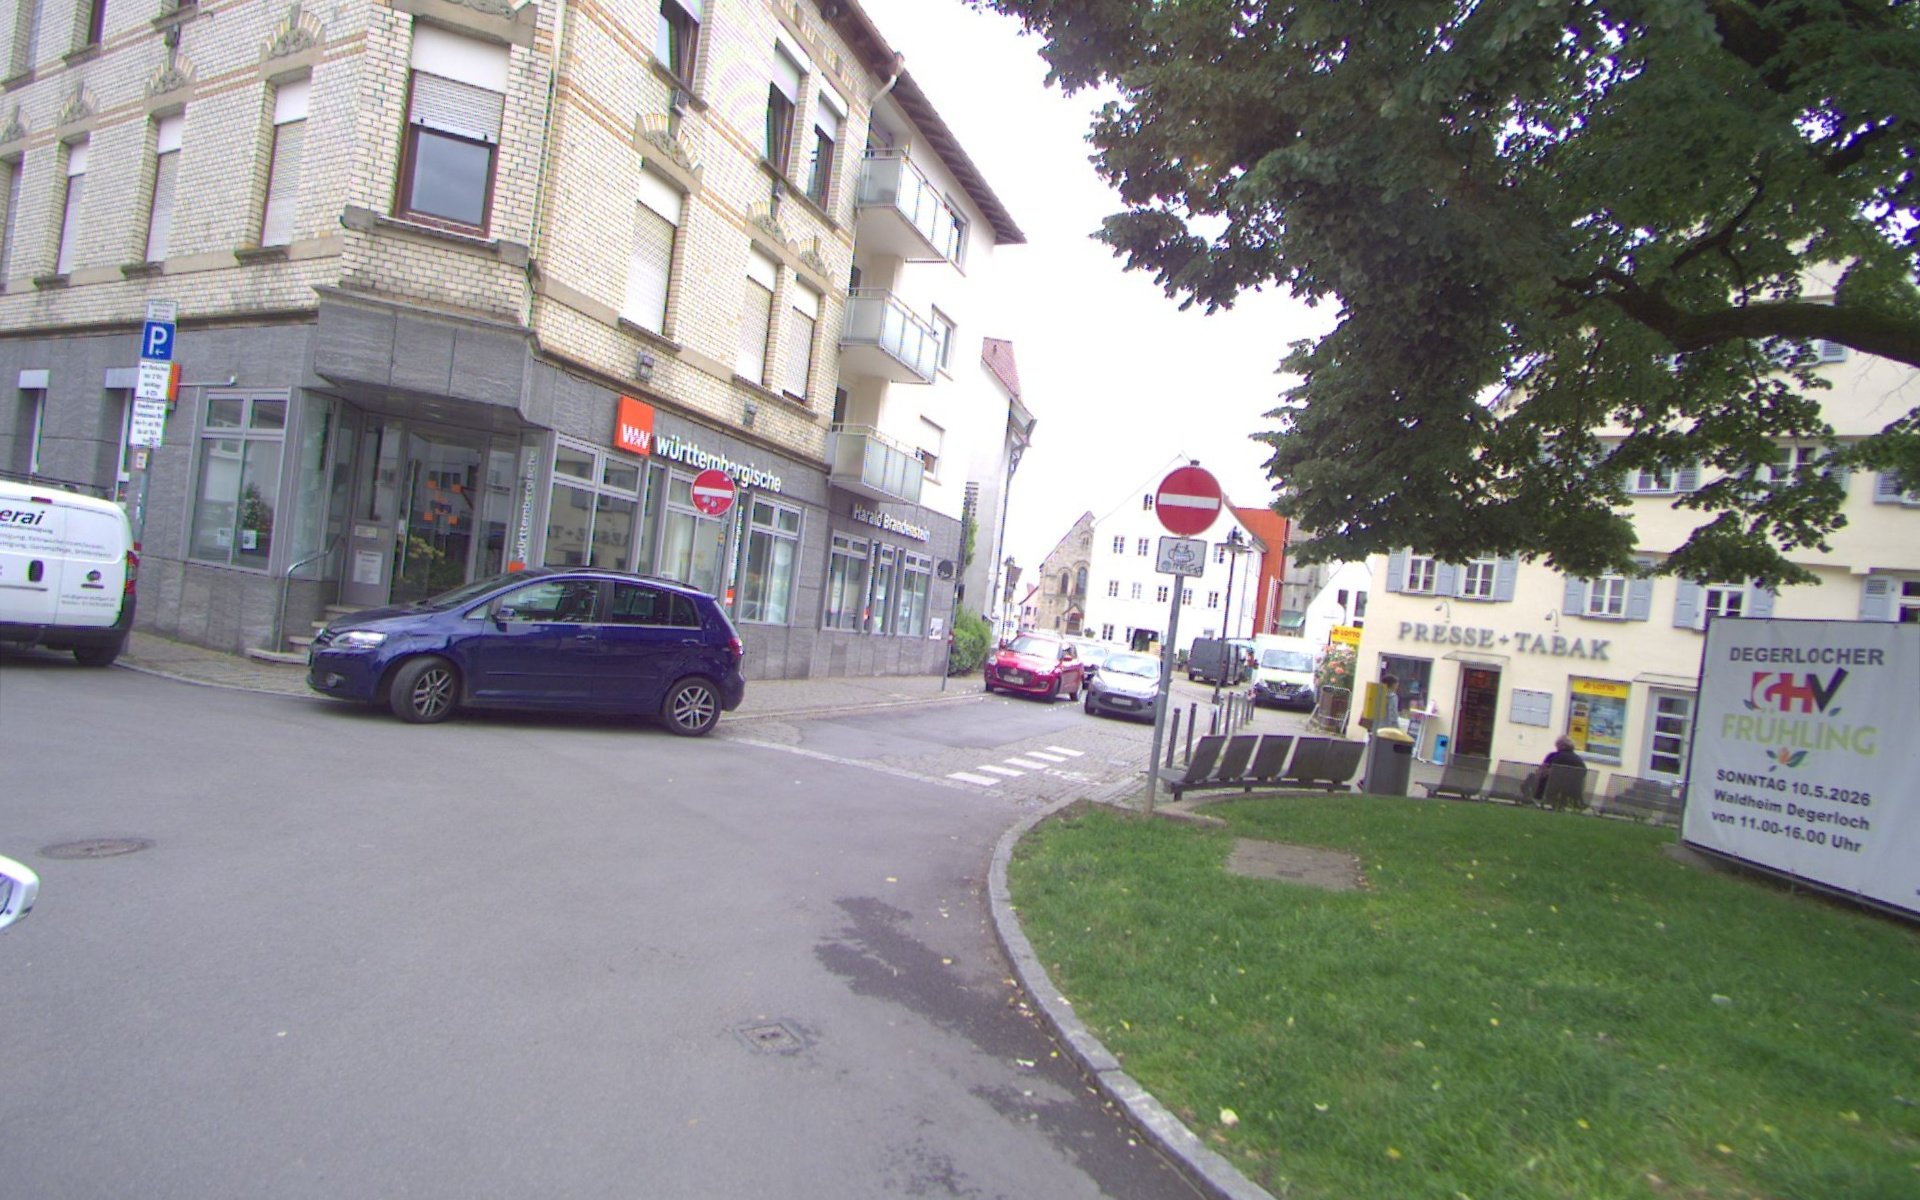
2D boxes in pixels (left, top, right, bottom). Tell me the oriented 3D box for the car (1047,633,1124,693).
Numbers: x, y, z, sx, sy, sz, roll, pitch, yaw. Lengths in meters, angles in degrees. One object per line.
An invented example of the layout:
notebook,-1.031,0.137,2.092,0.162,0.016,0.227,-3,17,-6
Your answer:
car,4.212,2.040,33.816,2.214,1.529,4.525,8,0,7

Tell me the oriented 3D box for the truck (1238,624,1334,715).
truck,11.890,2.517,36.645,2.789,2.722,5.298,7,-1,19

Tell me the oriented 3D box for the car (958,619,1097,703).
car,1.755,1.526,24.425,2.085,1.564,4.387,8,-2,20

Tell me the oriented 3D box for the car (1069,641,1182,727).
car,3.856,1.835,22.885,1.750,1.534,4.009,8,0,18

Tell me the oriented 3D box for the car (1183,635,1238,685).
car,13.153,3.146,52.633,2.038,2.238,4.000,8,0,21

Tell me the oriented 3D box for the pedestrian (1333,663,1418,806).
pedestrian,5.631,1.796,13.610,0.782,1.765,0.711,7,0,30

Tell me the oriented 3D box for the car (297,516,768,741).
car,-4.262,0.367,10.276,3.989,1.723,1.845,8,-3,-36

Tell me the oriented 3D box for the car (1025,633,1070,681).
car,4.485,2.879,51.568,1.949,2.038,4.365,8,0,5

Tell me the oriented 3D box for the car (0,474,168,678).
car,-10.324,-0.403,10.148,4.142,1.813,1.831,7,-1,24

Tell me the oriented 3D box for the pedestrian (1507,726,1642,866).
pedestrian,7.270,2.293,11.962,0.956,1.397,0.858,8,0,8
